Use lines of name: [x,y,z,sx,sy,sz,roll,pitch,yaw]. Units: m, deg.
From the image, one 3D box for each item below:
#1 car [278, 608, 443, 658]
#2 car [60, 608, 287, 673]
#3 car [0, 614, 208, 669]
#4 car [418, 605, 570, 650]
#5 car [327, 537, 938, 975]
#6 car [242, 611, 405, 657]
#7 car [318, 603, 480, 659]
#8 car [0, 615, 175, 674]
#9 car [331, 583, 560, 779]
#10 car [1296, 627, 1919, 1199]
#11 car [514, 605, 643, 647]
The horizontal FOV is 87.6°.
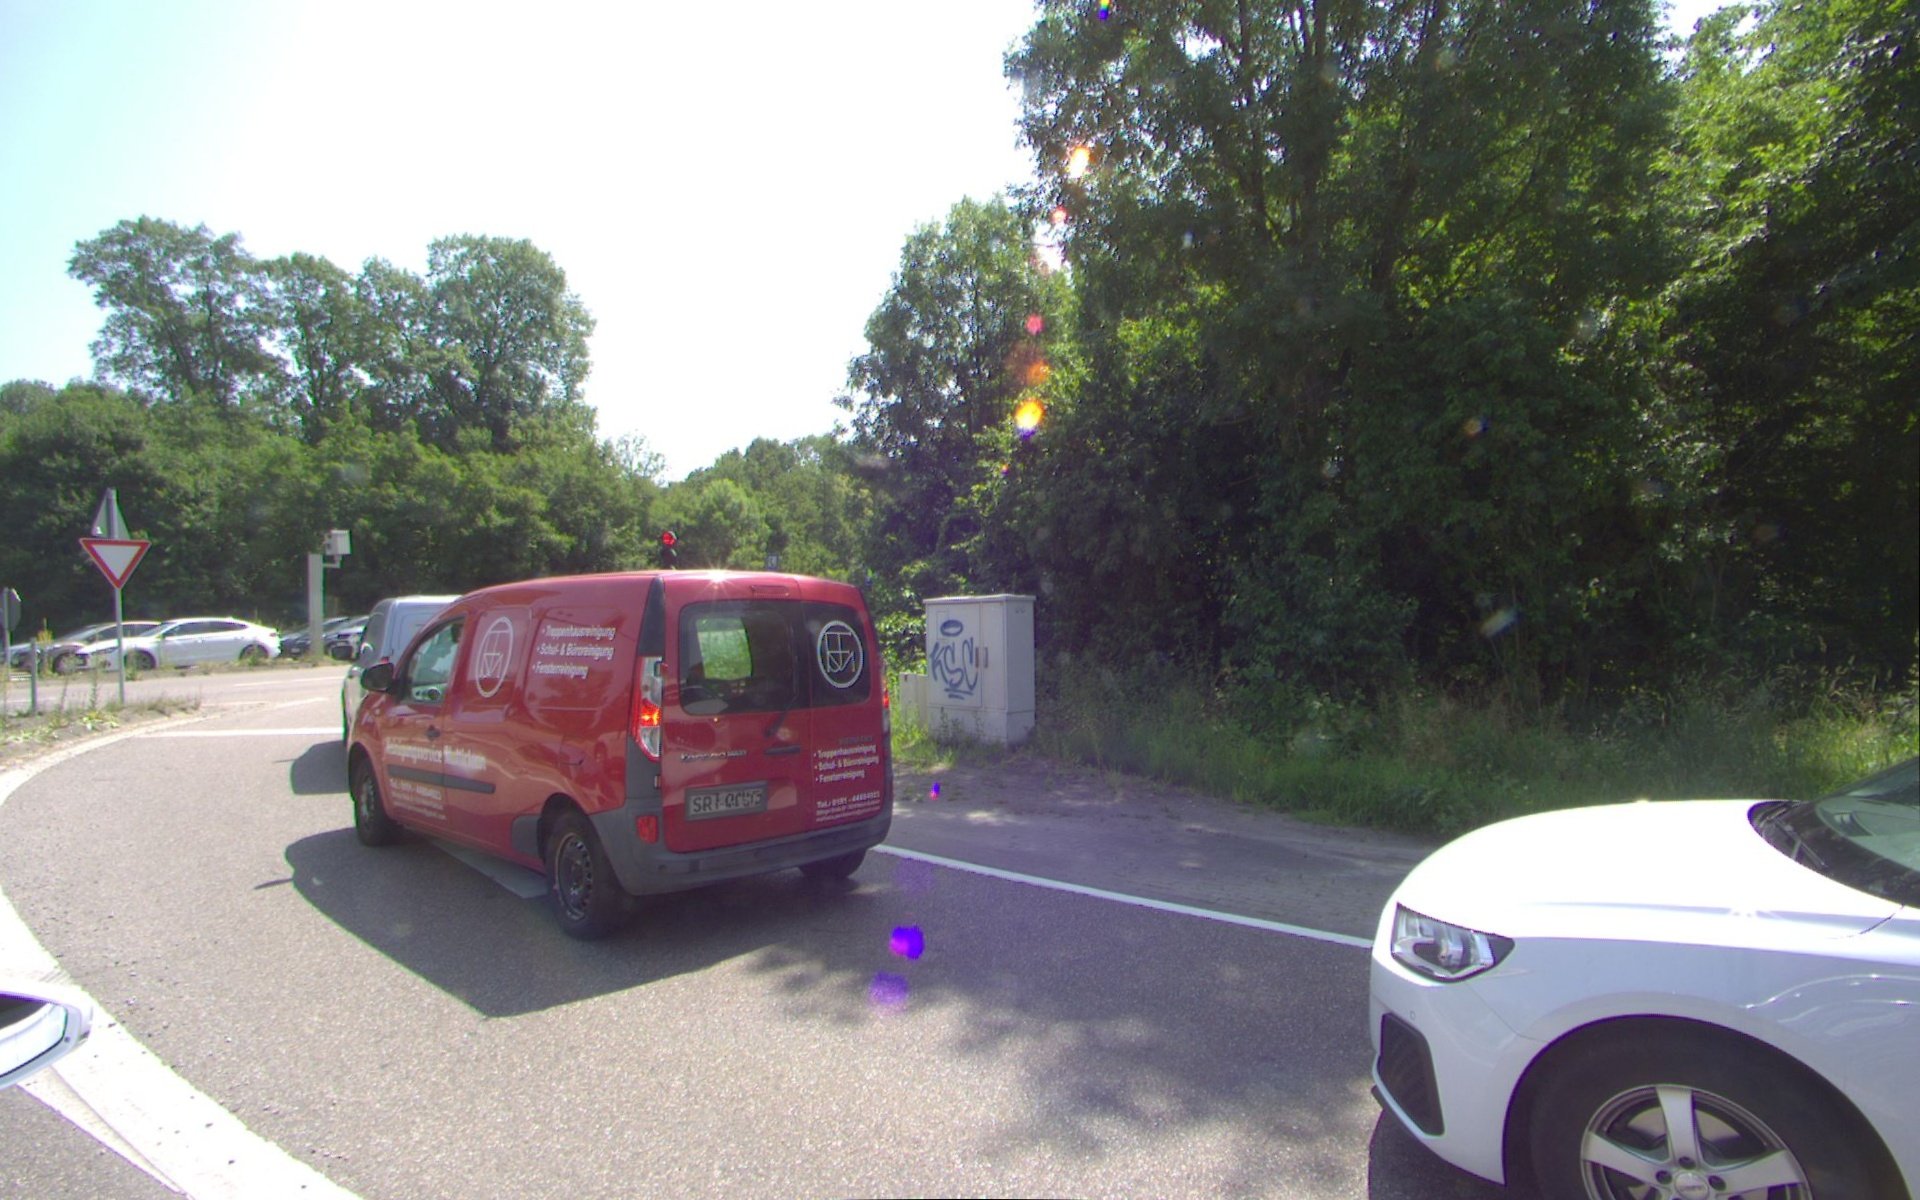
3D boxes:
car: [-20.508,1.095,34.446,2.091,1.555,4.411,-2,0,31]
car: [-21.108,1.020,27.094,1.970,1.555,4.413,-1,0,30]
car: [-26.996,1.256,31.525,1.992,1.518,4.922,-2,-1,32]
car: [-18.256,1.042,39.525,2.107,1.554,5.118,-2,0,31]
car: [-2.352,0.707,6.402,4.447,1.846,1.782,-1,-2,43]
car: [-23.322,1.200,36.853,2.082,1.518,4.608,-1,0,31]
car: [-18.135,0.951,32.532,1.971,1.681,4.164,-1,0,31]
car: [-24.917,1.186,28.131,1.965,1.466,4.086,-1,0,29]
car: [-5.964,0.764,11.356,1.740,1.797,4.084,-1,0,-35]
car: [2.943,0.806,2.114,3.946,1.453,1.686,-1,-3,35]
car: [-14.500,0.968,38.284,1.946,1.433,4.321,-1,0,32]
